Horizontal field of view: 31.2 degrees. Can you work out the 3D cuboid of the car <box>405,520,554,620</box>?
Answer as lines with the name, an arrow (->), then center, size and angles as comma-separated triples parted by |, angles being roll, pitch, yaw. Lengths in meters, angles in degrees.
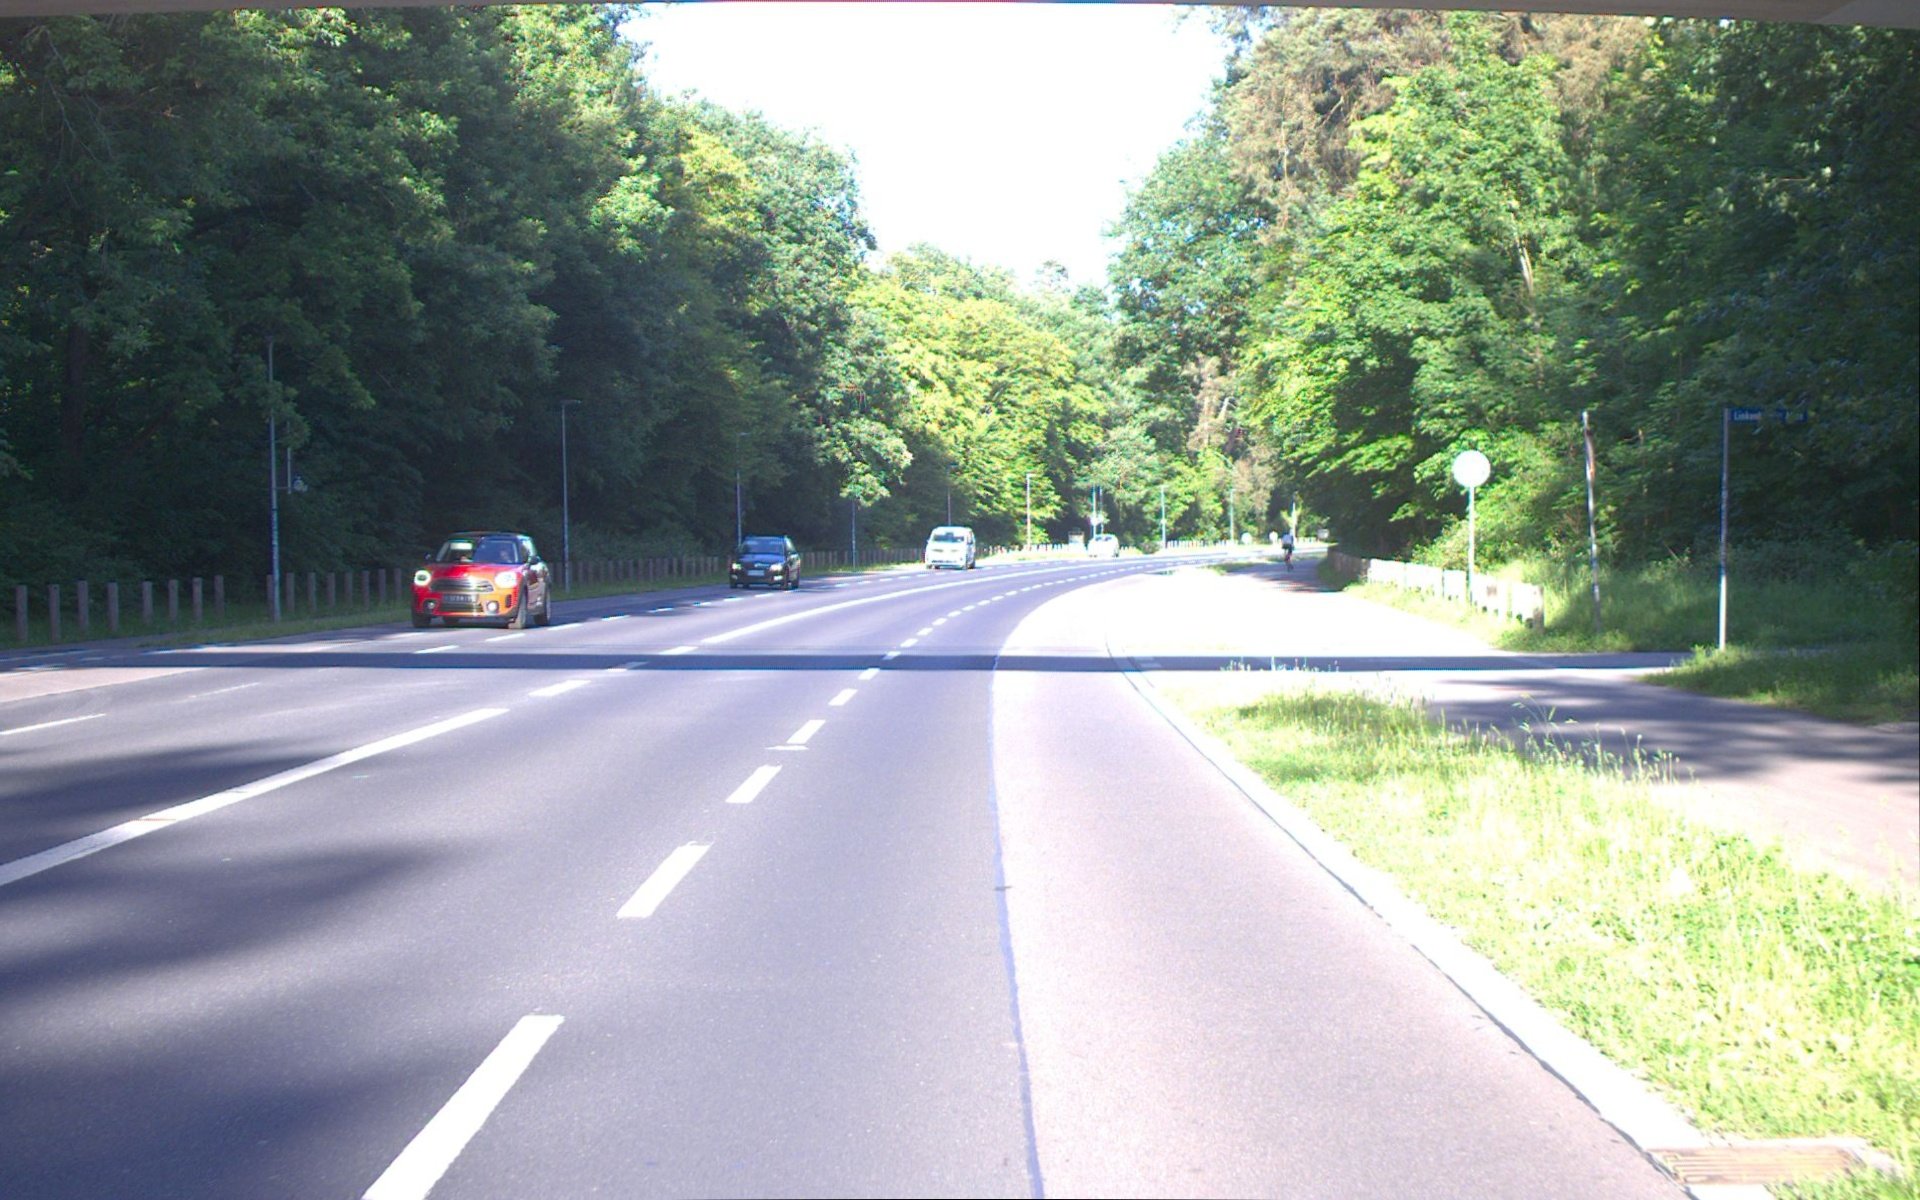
car -> -7.934, -0.533, 57.065 | 1.762, 1.577, 4.168 | 1, 1, 2

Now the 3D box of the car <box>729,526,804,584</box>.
car -> -5.466, -1.287, 97.491 | 1.722, 1.568, 4.177 | 1, 1, 2

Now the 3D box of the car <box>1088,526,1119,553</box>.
car -> 9.249, -3.880, 221.213 | 1.784, 1.703, 3.999 | 0, 1, 6

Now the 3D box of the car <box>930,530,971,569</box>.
car -> -0.410, -2.212, 149.832 | 1.705, 1.703, 4.000 | 0, 1, 1
